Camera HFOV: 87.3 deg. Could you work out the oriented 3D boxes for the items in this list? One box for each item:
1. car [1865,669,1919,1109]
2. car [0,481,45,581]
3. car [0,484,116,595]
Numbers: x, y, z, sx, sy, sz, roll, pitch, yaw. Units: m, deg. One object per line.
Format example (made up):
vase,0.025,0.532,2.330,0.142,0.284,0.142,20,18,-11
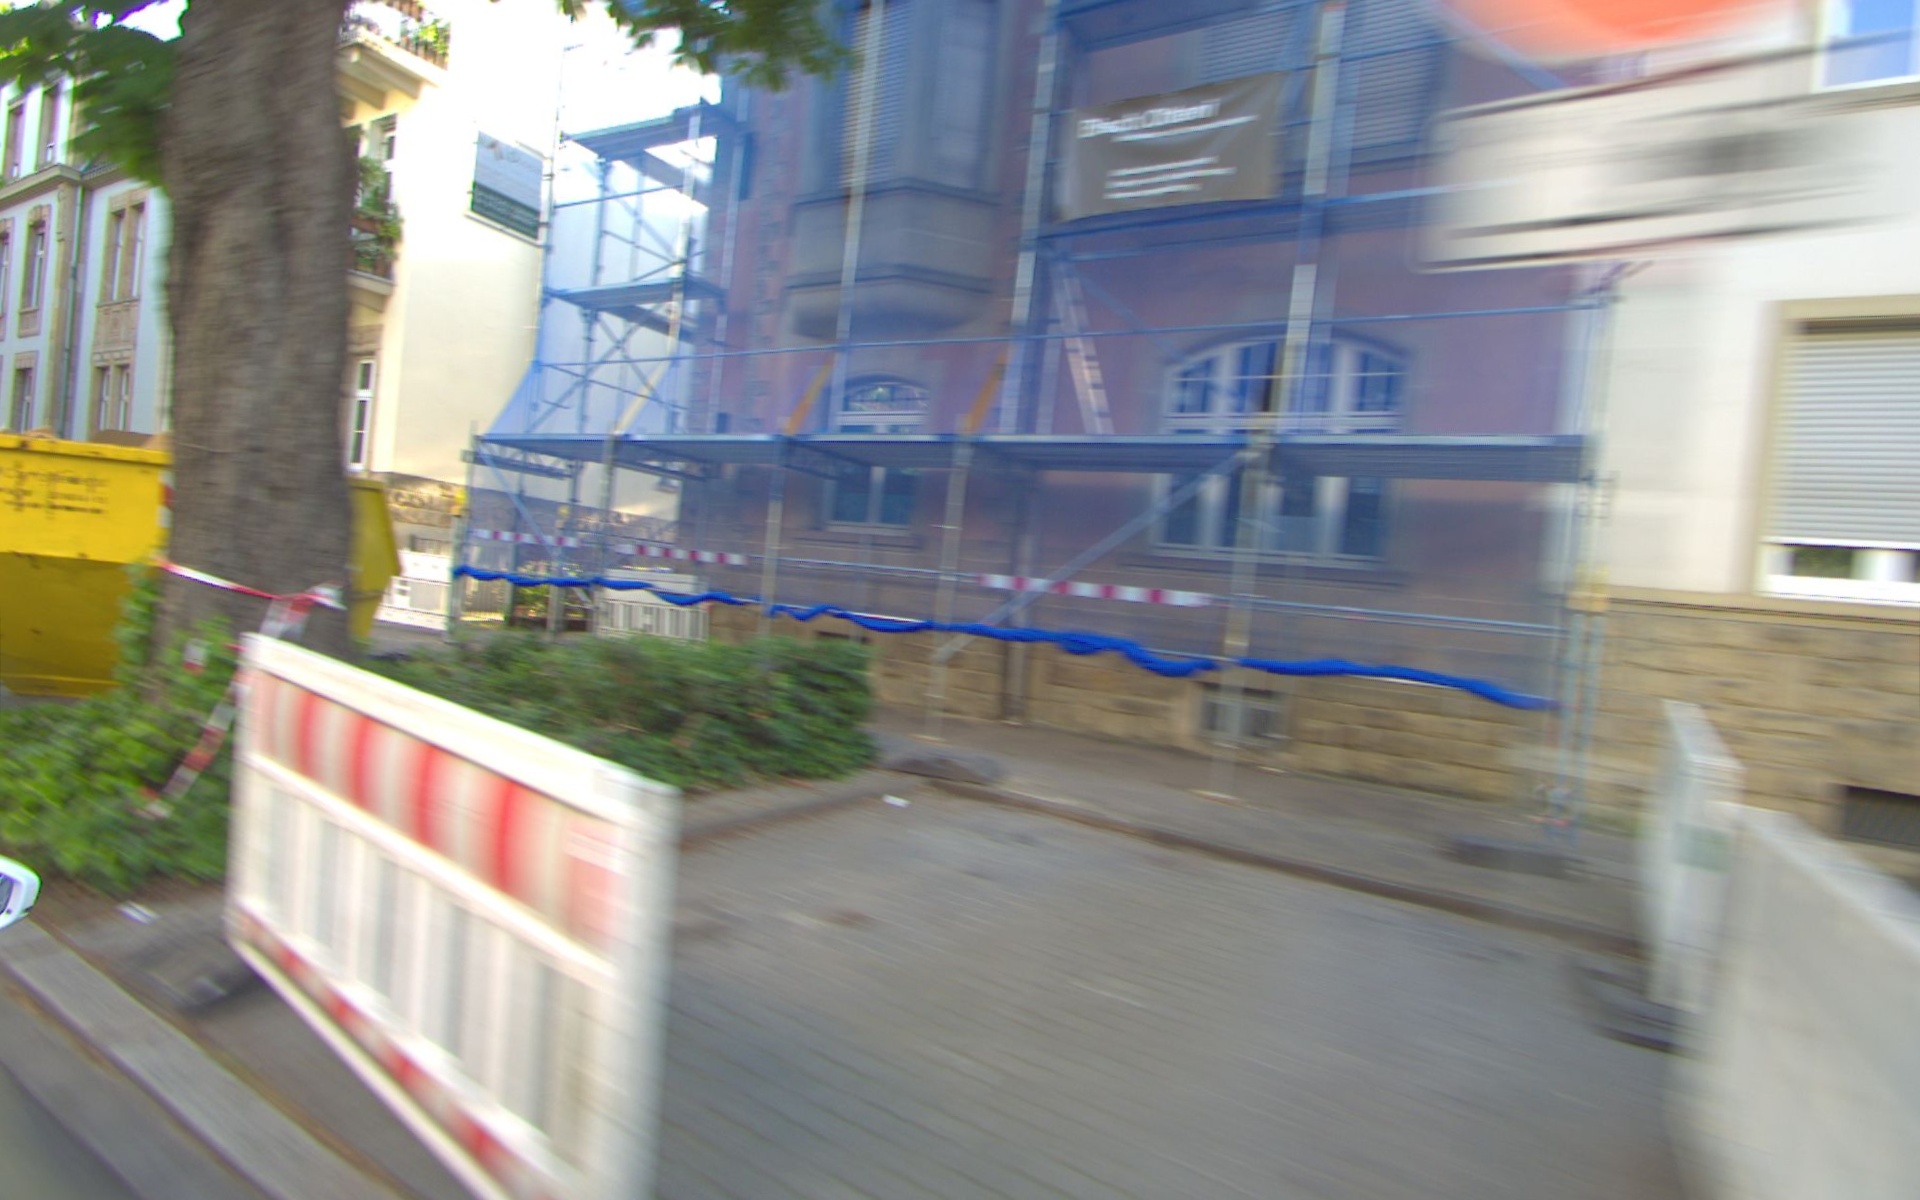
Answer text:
car,3.549,1.055,2.033,1.821,1.512,3.986,6,2,33
car,-16.642,-1.225,14.987,1.660,1.555,4.143,7,2,34
car,-14.404,-0.972,13.939,1.661,1.481,3.848,7,2,36
